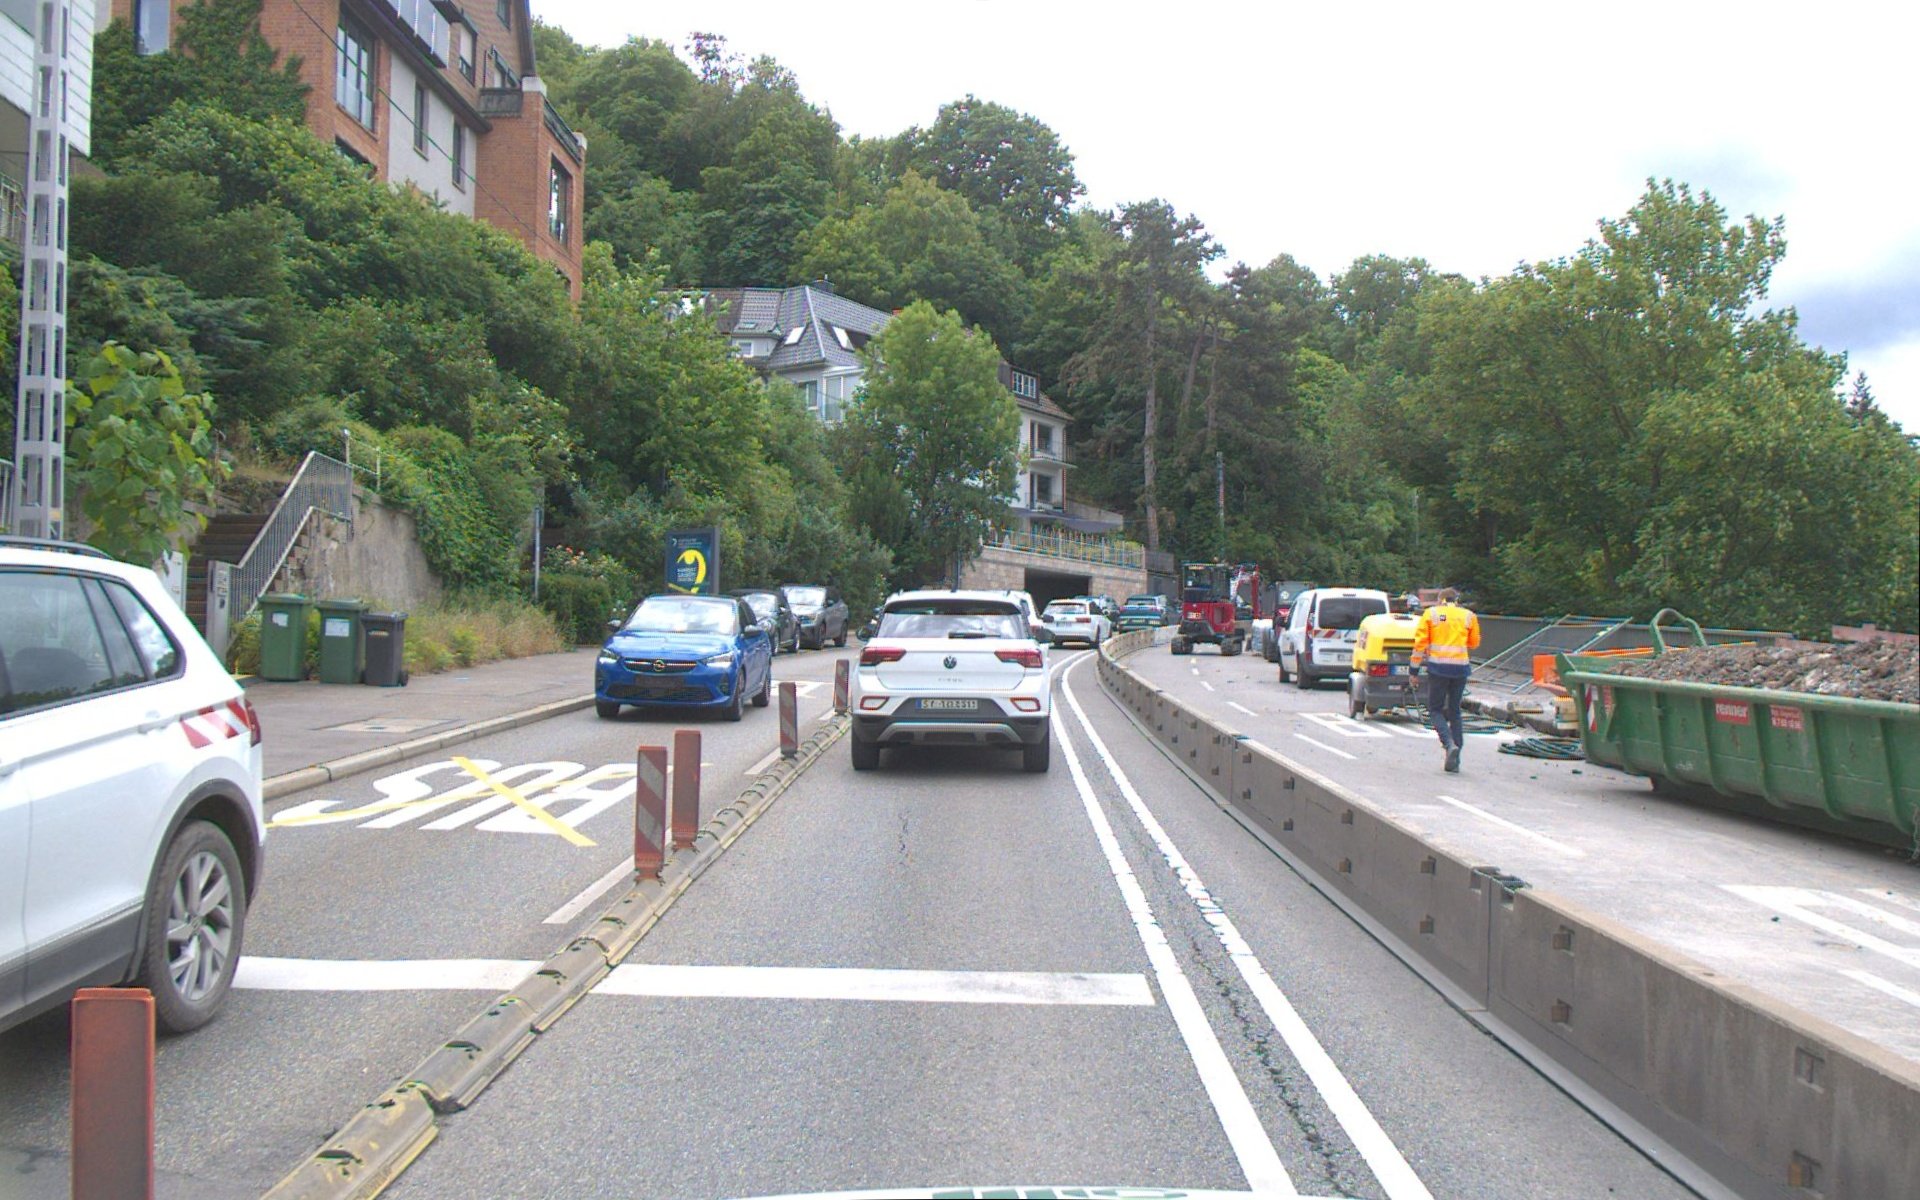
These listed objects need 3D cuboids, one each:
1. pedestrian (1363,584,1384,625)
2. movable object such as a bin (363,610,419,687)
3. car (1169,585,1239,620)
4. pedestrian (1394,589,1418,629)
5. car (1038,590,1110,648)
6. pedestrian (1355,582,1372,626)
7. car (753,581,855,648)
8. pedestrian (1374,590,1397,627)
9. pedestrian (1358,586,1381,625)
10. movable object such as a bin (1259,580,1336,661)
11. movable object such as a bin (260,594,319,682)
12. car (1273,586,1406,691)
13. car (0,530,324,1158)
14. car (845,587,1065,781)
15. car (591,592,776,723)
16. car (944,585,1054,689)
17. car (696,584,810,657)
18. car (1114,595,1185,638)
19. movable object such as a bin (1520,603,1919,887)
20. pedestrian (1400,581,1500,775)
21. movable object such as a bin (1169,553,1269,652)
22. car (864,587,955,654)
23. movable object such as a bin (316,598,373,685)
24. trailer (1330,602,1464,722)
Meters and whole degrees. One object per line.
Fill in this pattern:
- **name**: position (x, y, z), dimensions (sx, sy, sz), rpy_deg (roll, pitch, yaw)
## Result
- **pedestrian**: position (18.858, 0.200, 75.421), dimensions (0.858, 1.854, 0.878), rpy_deg (0, 0, 22)
- **movable object such as a bin**: position (-7.264, 0.612, 21.130), dimensions (0.458, 0.950, 0.624), rpy_deg (2, 0, -1)
- **car**: position (11.854, 0.128, 80.216), dimensions (1.736, 1.595, 4.217), rpy_deg (1, 1, 33)
- **pedestrian**: position (19.522, 0.385, 72.398), dimensions (0.770, 1.717, 0.781), rpy_deg (0, 0, 38)
- **car**: position (3.543, 0.551, 50.774), dimensions (1.771, 1.692, 4.004), rpy_deg (-1, 0, 10)
- **pedestrian**: position (17.975, 0.178, 73.686), dimensions (0.675, 1.940, 0.826), rpy_deg (0, 0, 10)
- **car**: position (-4.104, 0.375, 44.224), dimensions (1.651, 1.634, 4.190), rpy_deg (3, 0, 9)
- **pedestrian**: position (18.901, 0.370, 73.463), dimensions (0.770, 1.636, 0.664), rpy_deg (0, 0, 38)
- **pedestrian**: position (18.451, 0.237, 74.511), dimensions (0.858, 1.761, 0.878), rpy_deg (0, 0, 22)
- **movable object such as a bin**: position (8.719, 0.499, 42.993), dimensions (1.665, 1.977, 4.168), rpy_deg (1, 0, 8)
- **movable object such as a bin**: position (-8.527, 0.476, 21.034), dimensions (0.458, 1.072, 0.624), rpy_deg (2, 0, -1)
- **car**: position (7.037, 0.652, 31.044), dimensions (1.794, 1.811, 4.271), rpy_deg (1, 0, 4)
- **car**: position (-3.383, 0.625, 4.264), dimensions (1.804, 1.627, 4.263), rpy_deg (1, 0, 0)
- **car**: position (-0.044, 0.679, 15.608), dimensions (1.773, 1.558, 4.000), rpy_deg (1, 0, 0)
- **car**: position (-3.303, 0.637, 20.414), dimensions (1.691, 1.445, 3.820), rpy_deg (0, 0, -1)
- **car**: position (0.752, 0.606, 29.204), dimensions (1.772, 1.692, 4.002), rpy_deg (-1, 0, 4)
- **car**: position (-4.816, 0.455, 38.931), dimensions (1.756, 1.536, 4.003), rpy_deg (3, 0, 5)
- **car**: position (7.171, 0.589, 62.237), dimensions (1.757, 1.537, 4.001), rpy_deg (-1, 0, 20)
- **movable object such as a bin**: position (6.520, 0.849, 11.968), dimensions (2.326, 1.589, 7.097), rpy_deg (1, 0, -2)
- **pedestrian**: position (4.545, 0.702, 15.384), dimensions (0.632, 1.731, 0.850), rpy_deg (2, 0, 0)
- **movable object such as a bin**: position (7.555, 0.053, 47.885), dimensions (2.165, 2.709, 4.947), rpy_deg (1, 0, 17)
- **car**: position (-1.280, 0.516, 43.644), dimensions (1.776, 1.650, 3.822), rpy_deg (2, 0, 7)
- **movable object such as a bin**: position (-7.818, 0.521, 21.024), dimensions (0.458, 1.072, 0.624), rpy_deg (2, 0, -1)
- **trailer**: position (6.024, 0.796, 23.096), dimensions (1.261, 1.501, 3.636), rpy_deg (1, 0, 6)
